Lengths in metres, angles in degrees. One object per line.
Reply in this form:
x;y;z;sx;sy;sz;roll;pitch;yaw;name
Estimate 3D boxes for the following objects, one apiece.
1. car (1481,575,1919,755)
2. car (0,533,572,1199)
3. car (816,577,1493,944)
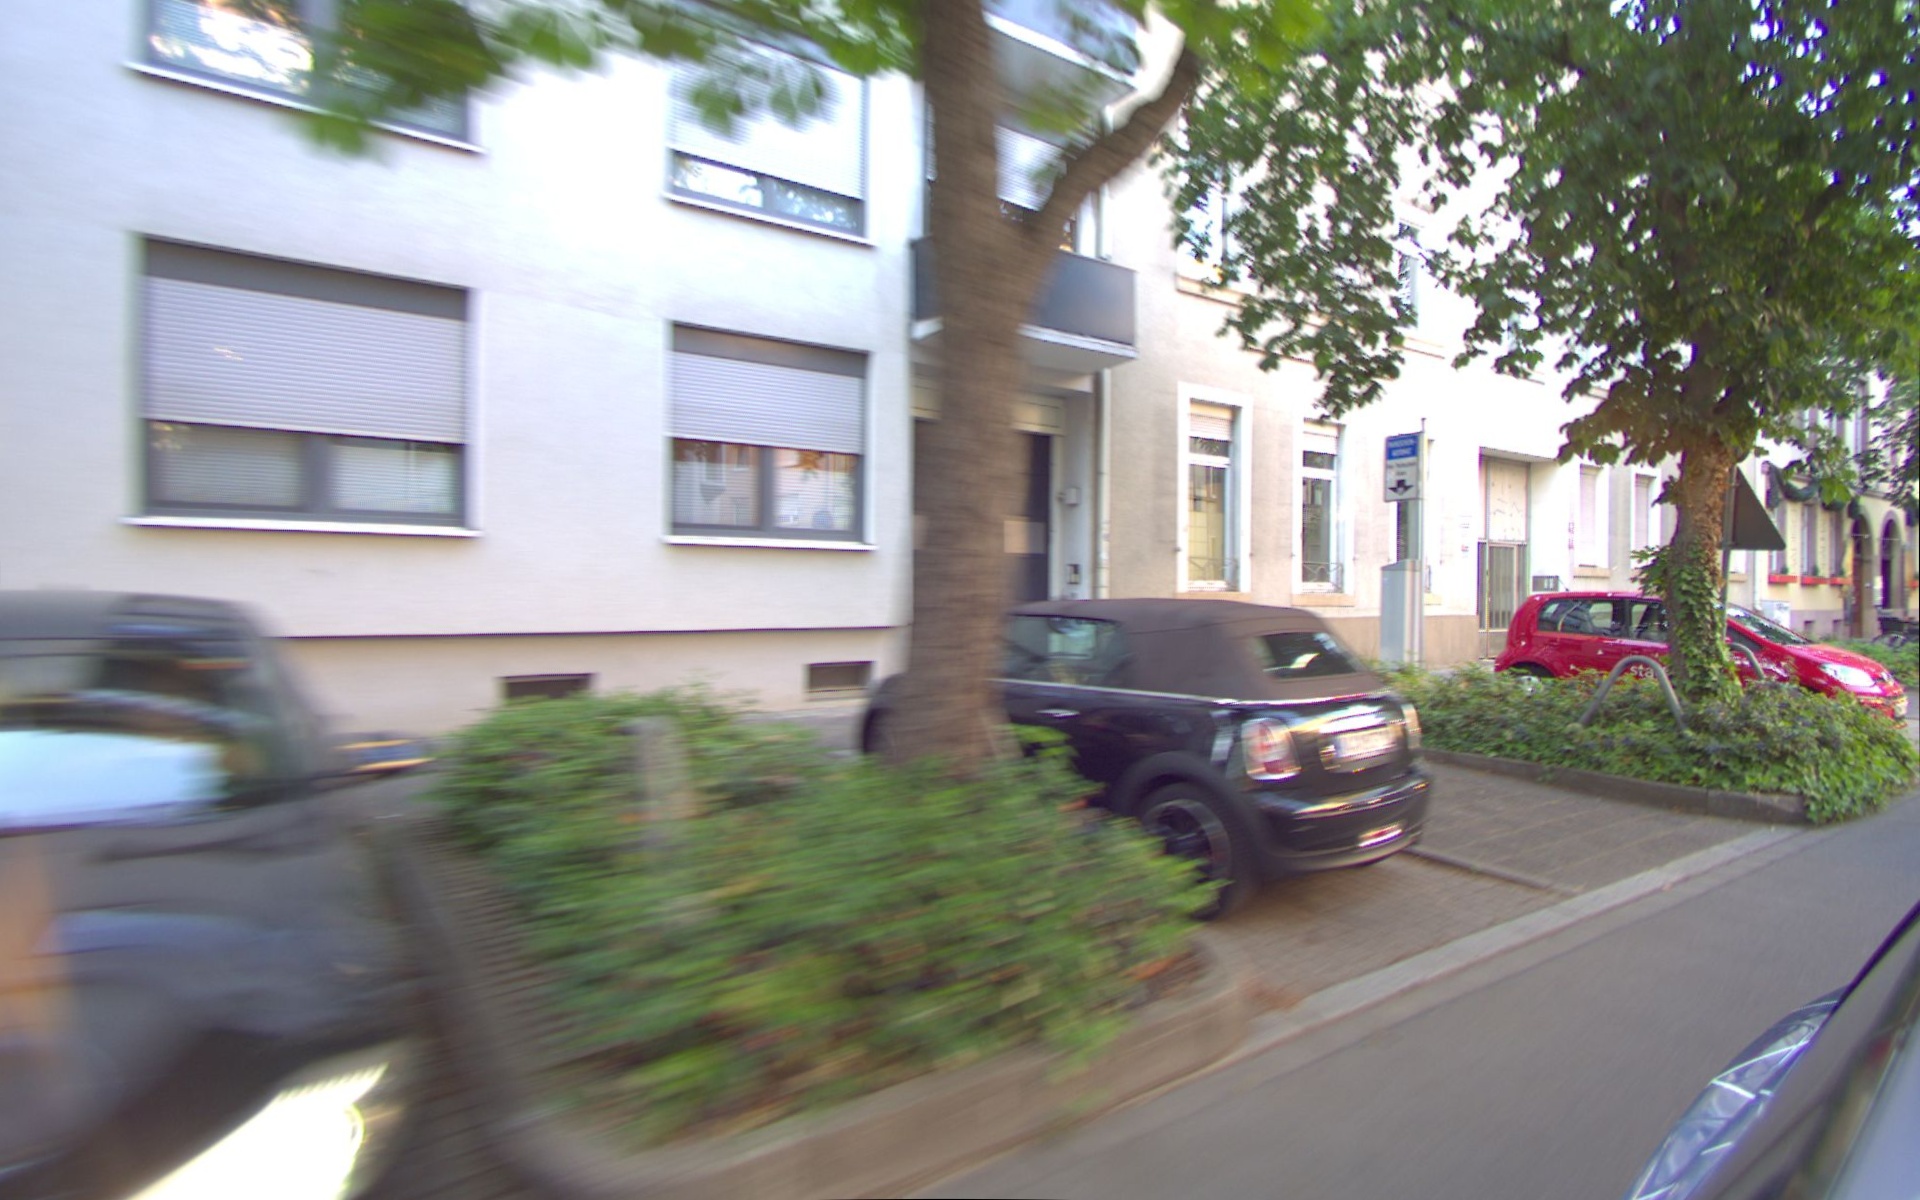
7.898;0.542;10.885;1.722;1.572;3.732;0;1;-37;car
-2.689;0.665;2.840;1.950;1.516;4.891;0;1;-34;car
0.846;0.605;6.104;1.682;1.428;3.845;0;2;-38;car
